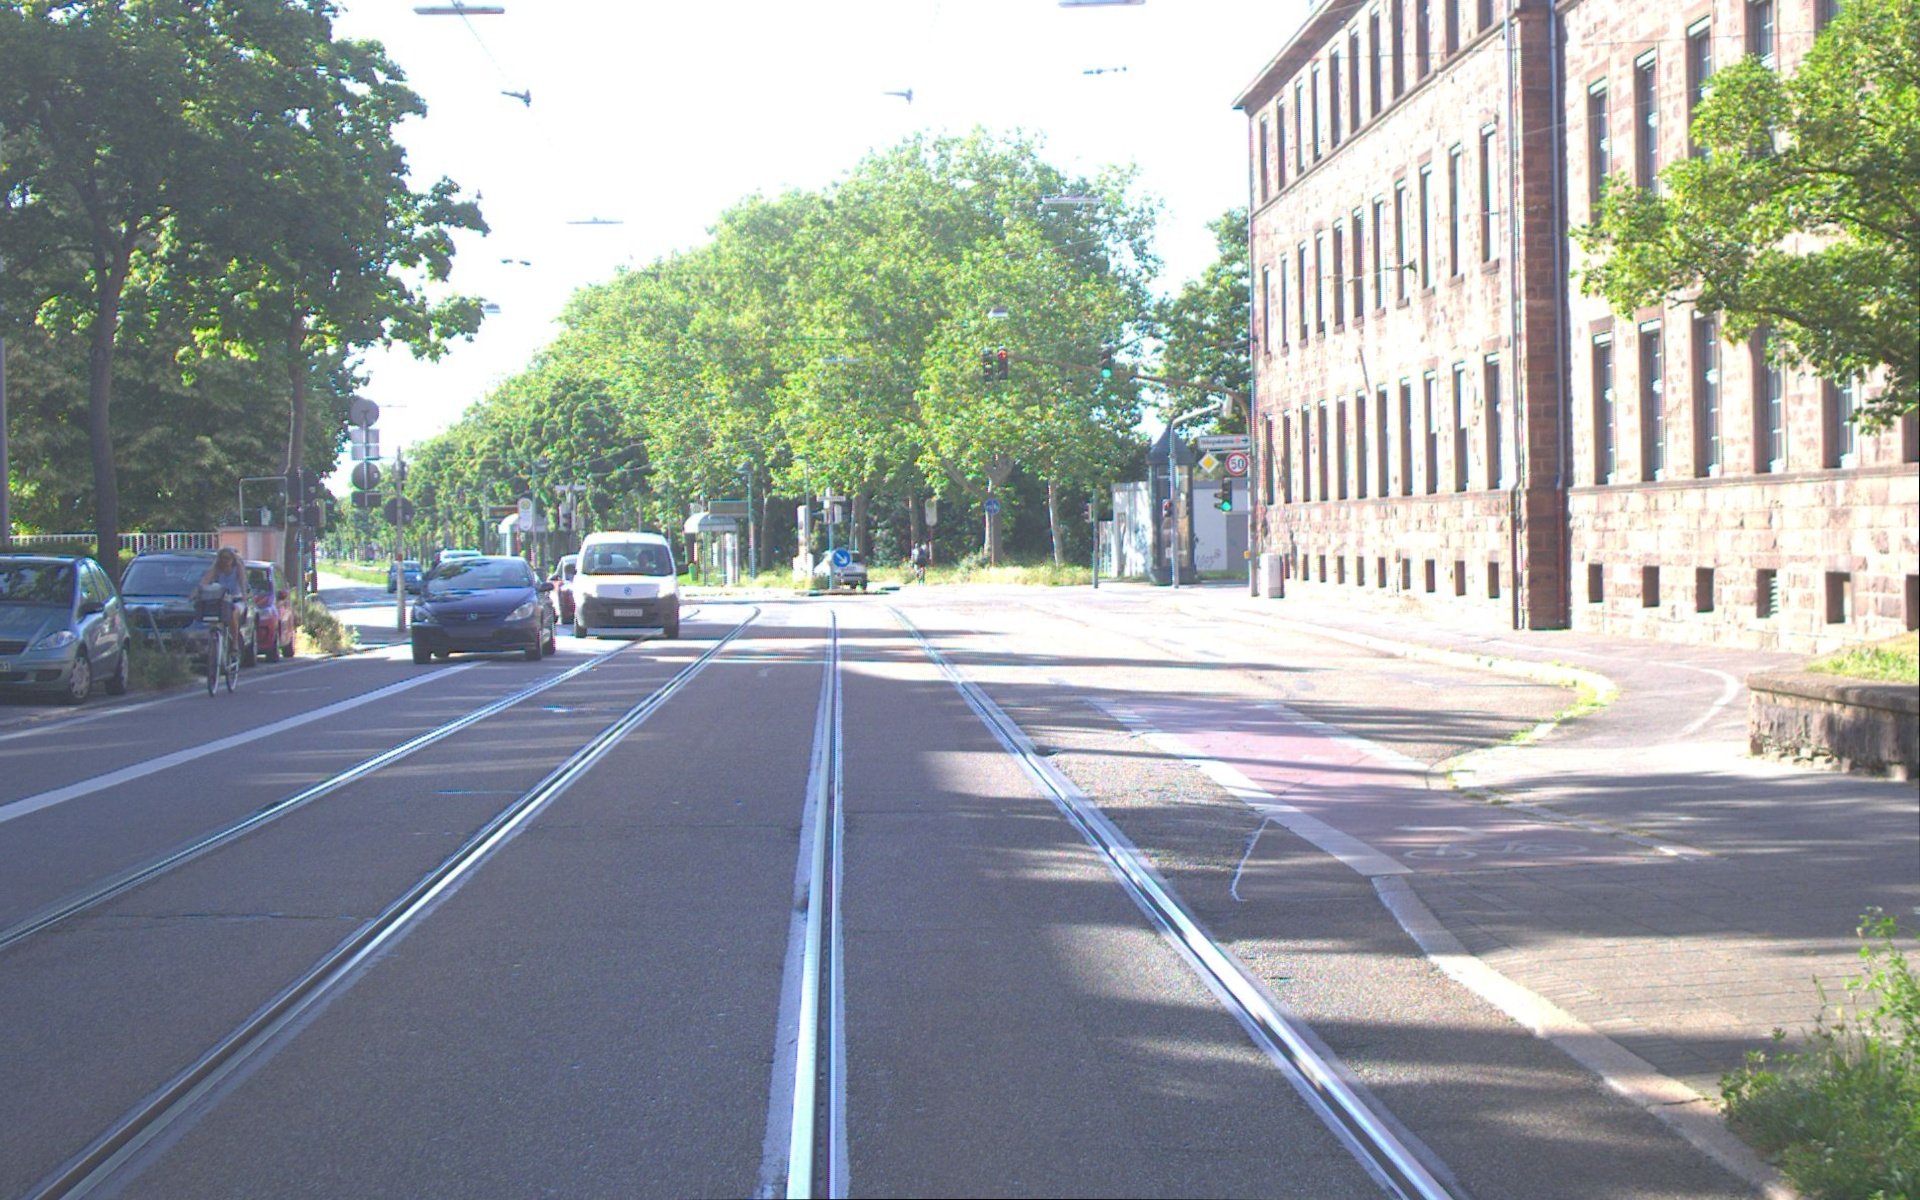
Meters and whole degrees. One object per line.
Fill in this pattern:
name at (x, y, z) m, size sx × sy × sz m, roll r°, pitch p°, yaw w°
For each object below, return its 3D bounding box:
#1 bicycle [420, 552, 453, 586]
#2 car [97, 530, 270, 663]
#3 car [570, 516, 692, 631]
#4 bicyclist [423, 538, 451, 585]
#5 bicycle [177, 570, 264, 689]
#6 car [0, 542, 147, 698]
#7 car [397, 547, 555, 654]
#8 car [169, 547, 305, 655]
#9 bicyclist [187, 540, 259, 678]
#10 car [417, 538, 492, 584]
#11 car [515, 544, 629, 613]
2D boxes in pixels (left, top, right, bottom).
bicycle at (-17.012, -1.022, 111.713) m, size 0.749 × 1.083 × 2.178 m, roll -1°, pitch 1°, yaw -17°
car at (-10.372, -0.085, 46.177) m, size 1.745 × 1.655 × 4.392 m, roll 2°, pitch 1°, yaw -6°
car at (-5.635, -0.485, 59.296) m, size 1.809 × 1.882 × 4.441 m, roll -1°, pitch 1°, yaw -2°
bicyclist at (-17.007, -1.247, 111.687) m, size 0.749 × 1.499 × 0.964 m, roll -1°, pitch 1°, yaw -17°
bicycle at (-8.055, 0.301, 37.532) m, size 0.557 × 1.194 × 2.292 m, roll -4°, pitch 1°, yaw -5°
car at (-10.174, 0.178, 37.861) m, size 1.745 × 1.564 × 4.070 m, roll 2°, pitch 1°, yaw -5°
car at (-6.649, -0.024, 47.623) m, size 1.809 × 1.382 × 4.441 m, roll -1°, pitch 1°, yaw -4°
car at (-10.671, -0.016, 50.908) m, size 1.581 × 1.483 × 3.613 m, roll 2°, pitch 1°, yaw -6°
bicyclist at (-8.071, 0.090, 37.683) m, size 0.557 × 1.451 × 0.869 m, roll -4°, pitch 1°, yaw -5°
car at (-16.955, -1.305, 115.243) m, size 1.993 × 1.499 × 4.001 m, roll -1°, pitch 1°, yaw -15°
car at (-8.291, -0.478, 73.084) m, size 1.920 × 1.382 × 4.688 m, roll -1°, pitch 1°, yaw -12°
